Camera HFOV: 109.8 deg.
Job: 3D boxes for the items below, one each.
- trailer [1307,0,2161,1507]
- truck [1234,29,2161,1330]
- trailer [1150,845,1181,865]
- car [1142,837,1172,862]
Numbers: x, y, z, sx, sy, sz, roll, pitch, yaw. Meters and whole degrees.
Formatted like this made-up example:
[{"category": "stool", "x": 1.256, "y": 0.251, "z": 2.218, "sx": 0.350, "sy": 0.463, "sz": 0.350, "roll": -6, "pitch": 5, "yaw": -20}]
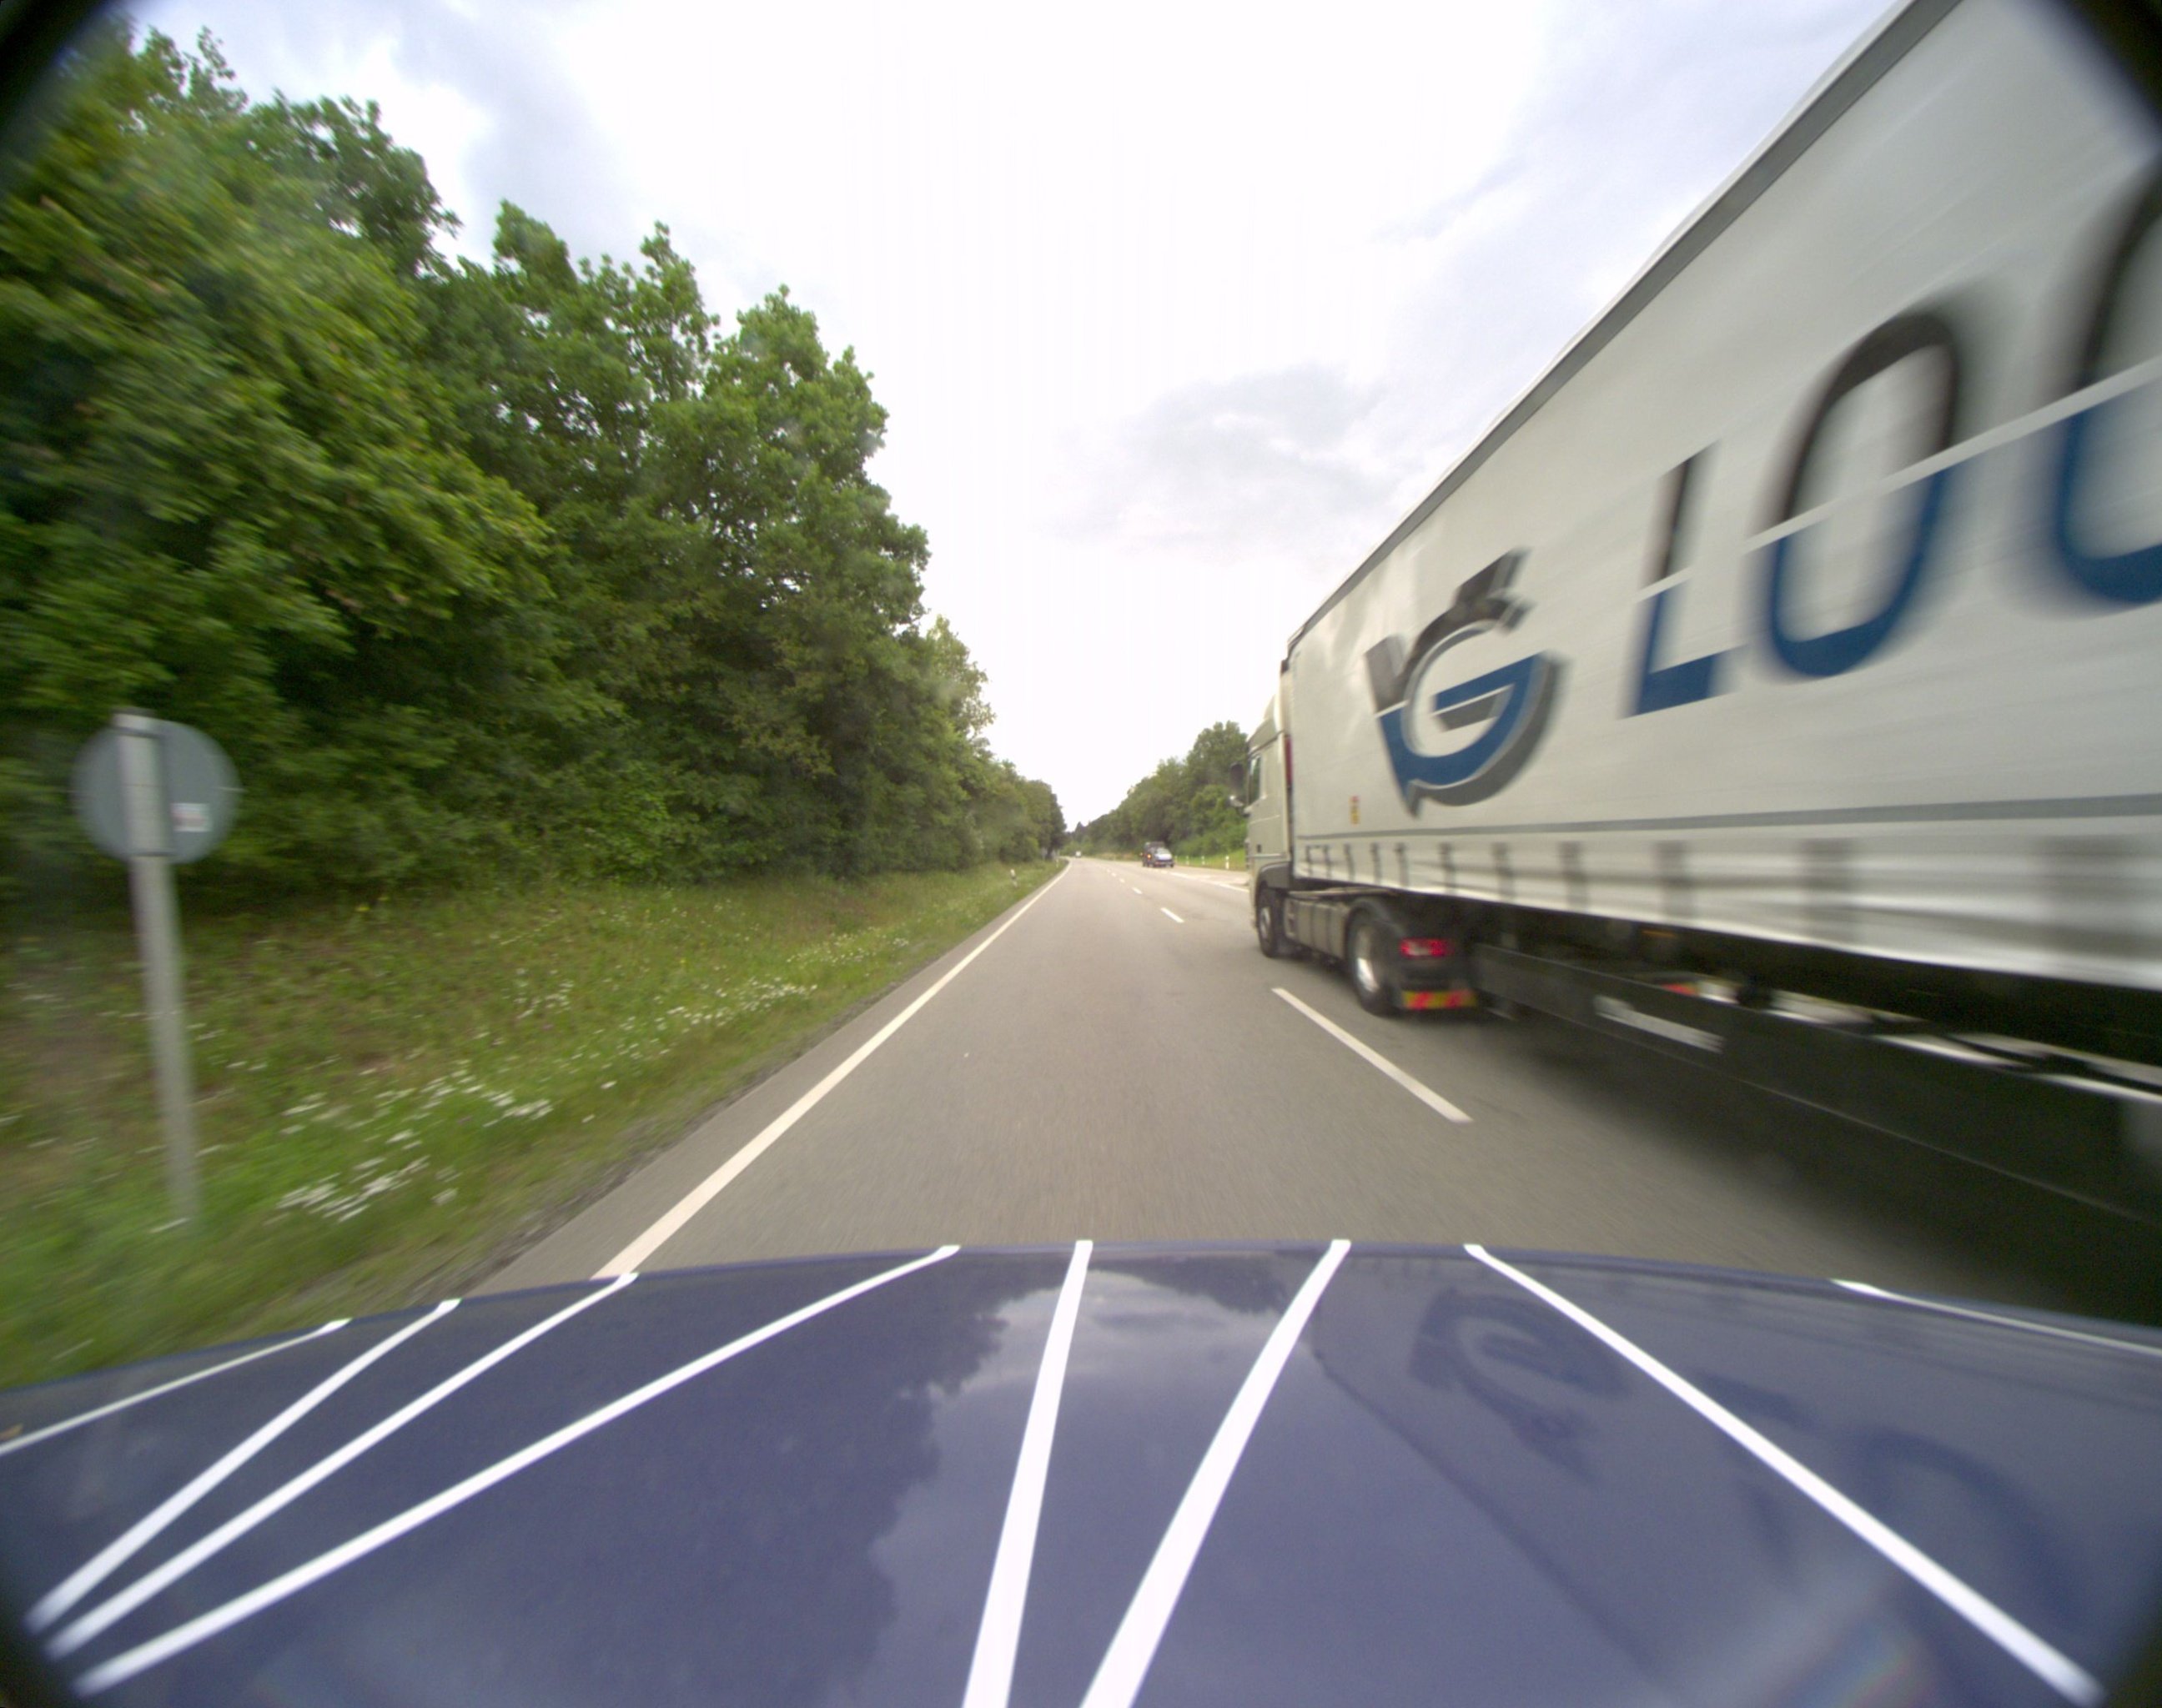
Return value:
[{"category": "trailer", "x": 3.957, "y": -0.596, "z": 0.906, "sx": 3.211, "sy": 4.043, "sz": 14.271, "roll": -2, "pitch": 1, "yaw": 1}, {"category": "truck", "x": 4.025, "y": -0.607, "z": 7.172, "sx": 3.197, "sy": 4.039, "sz": 9.574, "roll": -2, "pitch": 1, "yaw": 1}, {"category": "trailer", "x": 8.265, "y": 0.039, "z": 74.829, "sx": 2.060, "sy": 1.781, "sz": 5.687, "roll": -2, "pitch": 1, "yaw": -3}, {"category": "car", "x": 8.096, "y": -0.460, "z": 81.279, "sx": 2.262, "sy": 2.515, "sz": 7.161, "roll": 0, "pitch": 1, "yaw": -2}]
